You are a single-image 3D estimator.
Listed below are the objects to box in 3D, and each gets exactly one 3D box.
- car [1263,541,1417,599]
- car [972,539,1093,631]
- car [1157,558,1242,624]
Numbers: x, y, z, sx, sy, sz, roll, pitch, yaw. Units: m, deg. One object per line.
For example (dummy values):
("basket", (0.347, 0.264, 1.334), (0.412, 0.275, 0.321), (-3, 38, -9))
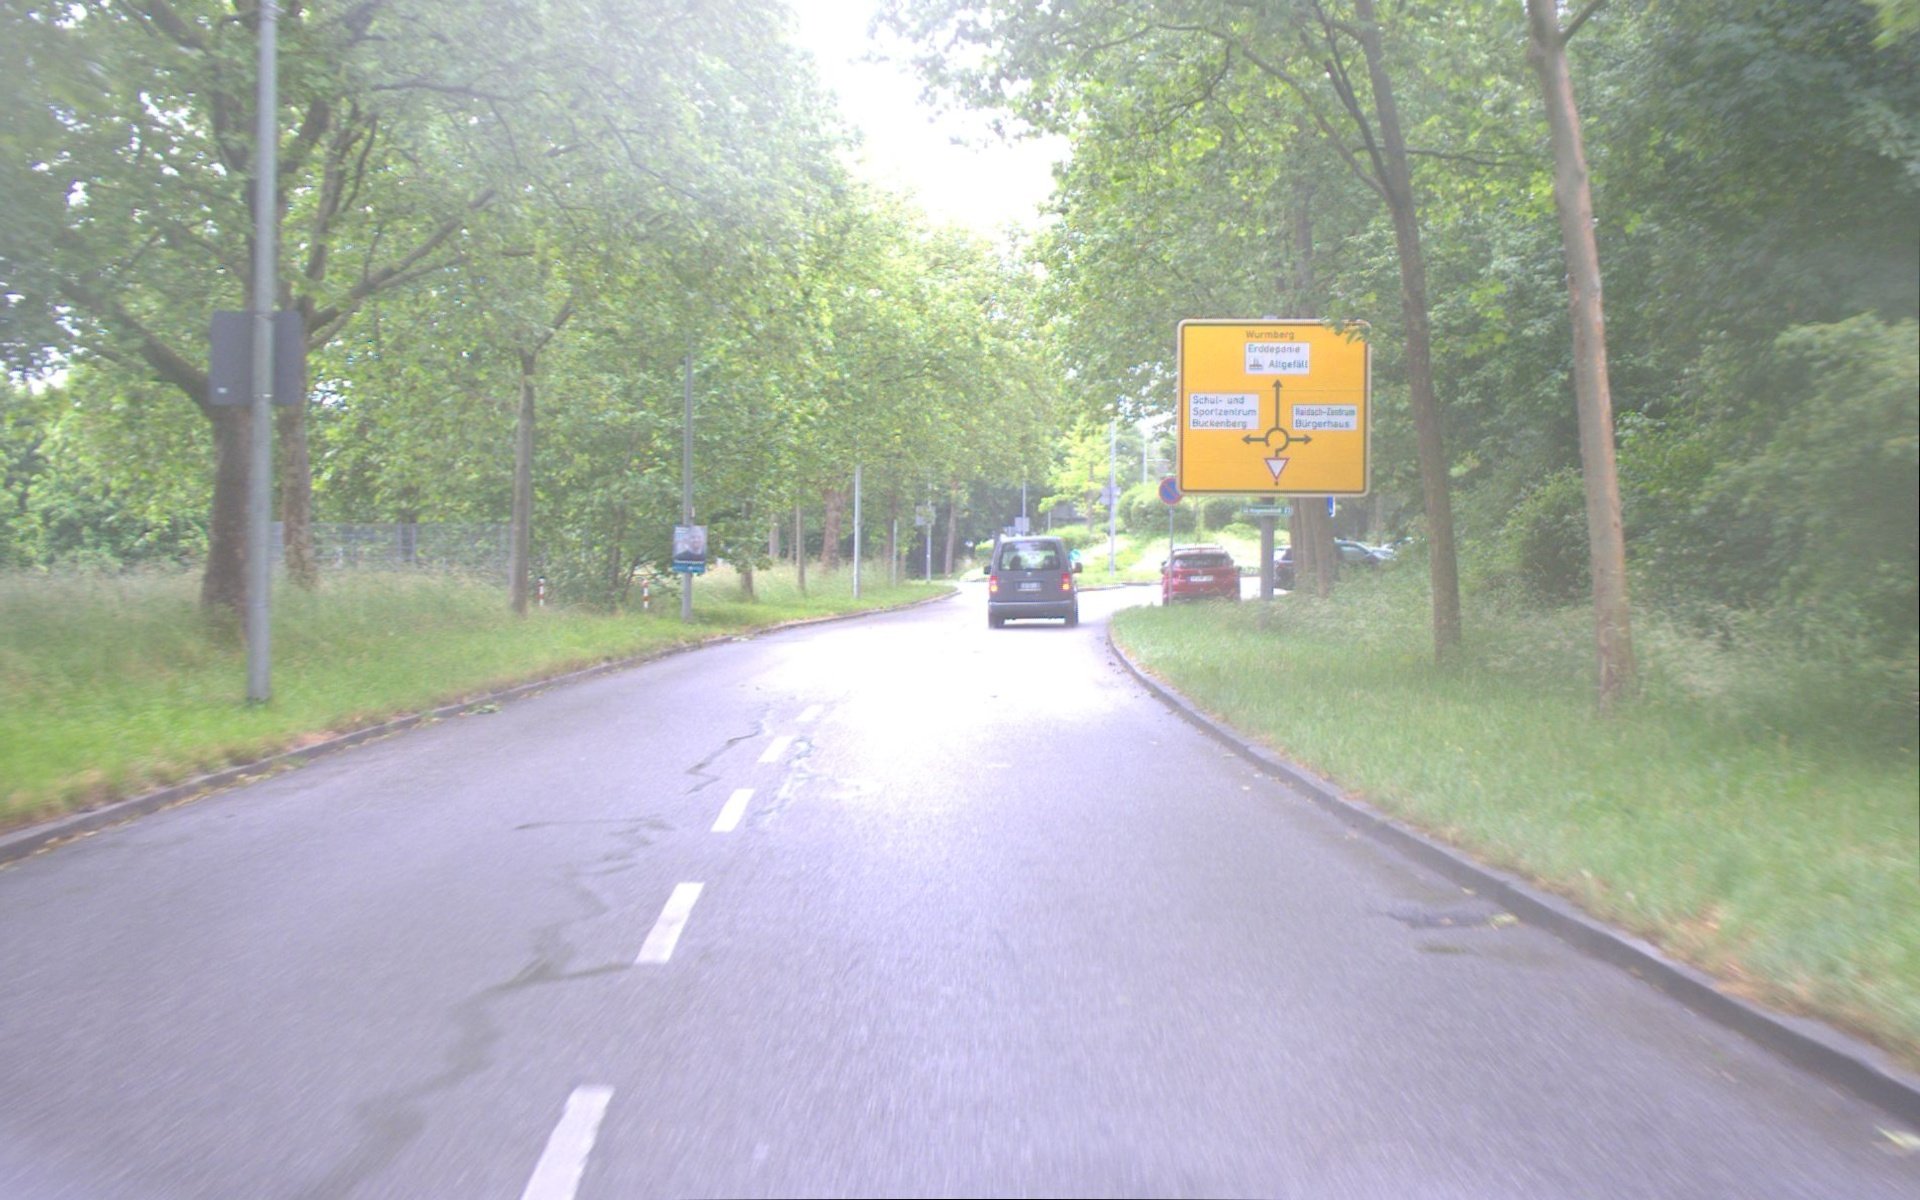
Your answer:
("car", (11.235, -0.891, 101.733), (4.471, 1.674, 1.767), (0, 2, 6))
("car", (1.505, -0.327, 70.007), (1.919, 1.795, 3.788), (1, 1, 9))
("car", (5.297, -0.206, 75.808), (1.797, 1.367, 3.743), (-1, 0, 4))
